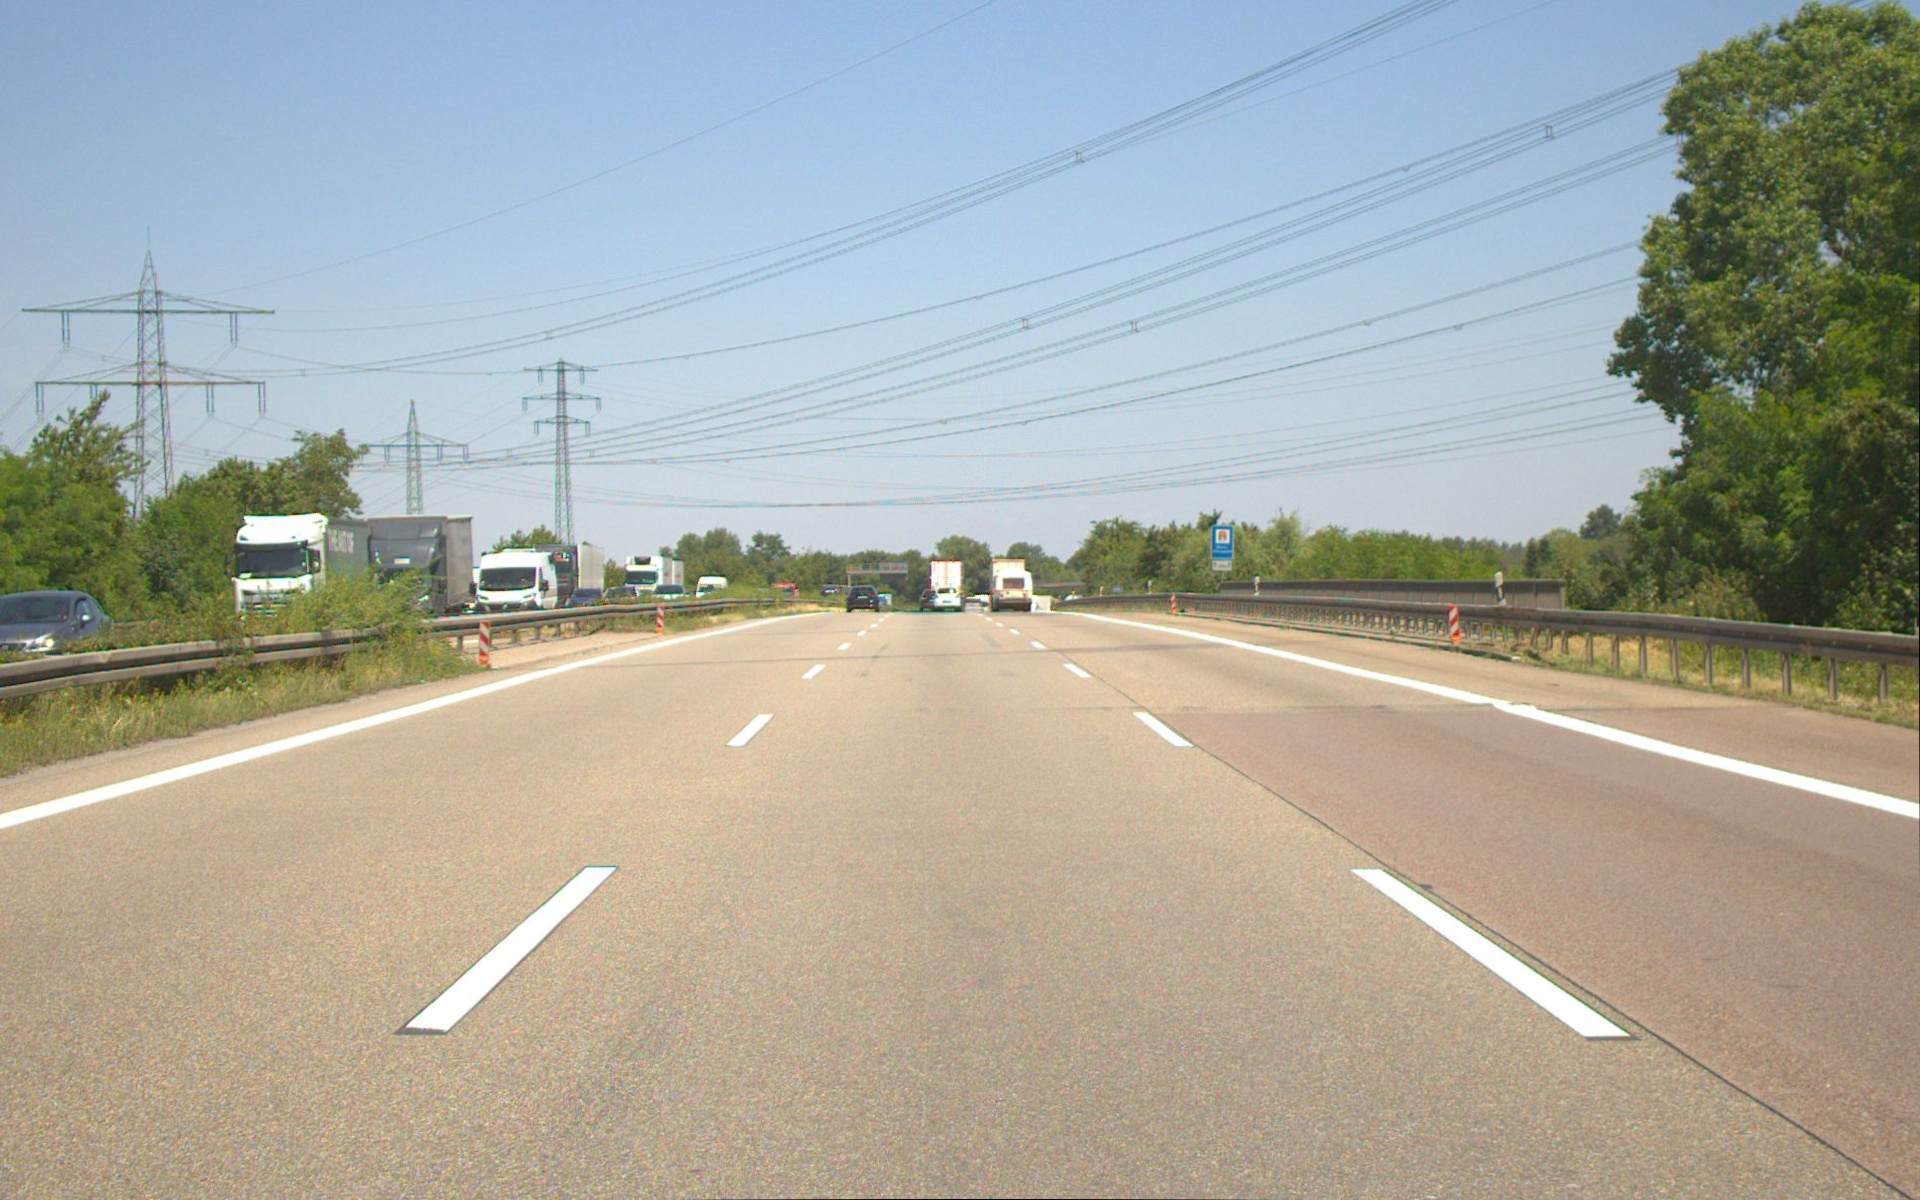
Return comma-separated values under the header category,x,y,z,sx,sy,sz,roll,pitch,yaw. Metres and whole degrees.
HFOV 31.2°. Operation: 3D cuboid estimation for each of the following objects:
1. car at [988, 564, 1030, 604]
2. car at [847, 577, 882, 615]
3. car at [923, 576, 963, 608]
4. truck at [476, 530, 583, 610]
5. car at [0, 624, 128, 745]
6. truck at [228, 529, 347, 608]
category,x,y,z,sx,sy,sz,roll,pitch,yaw
car,2.505,-0.841,177.277,1.993,2.007,4.000,-1,1,-1
car,-5.211,-0.228,187.665,1.791,2.007,3.888,0,1,0
car,-1.066,-0.523,218.020,2.177,1.923,4.611,-1,1,3
truck,-14.045,-0.999,112.824,2.499,2.456,12.294,-1,1,-3
car,-13.893,1.242,51.354,1.993,1.645,4.000,-1,1,-1
truck,-22.457,-1.076,115.414,2.499,2.456,12.295,-1,1,-4
